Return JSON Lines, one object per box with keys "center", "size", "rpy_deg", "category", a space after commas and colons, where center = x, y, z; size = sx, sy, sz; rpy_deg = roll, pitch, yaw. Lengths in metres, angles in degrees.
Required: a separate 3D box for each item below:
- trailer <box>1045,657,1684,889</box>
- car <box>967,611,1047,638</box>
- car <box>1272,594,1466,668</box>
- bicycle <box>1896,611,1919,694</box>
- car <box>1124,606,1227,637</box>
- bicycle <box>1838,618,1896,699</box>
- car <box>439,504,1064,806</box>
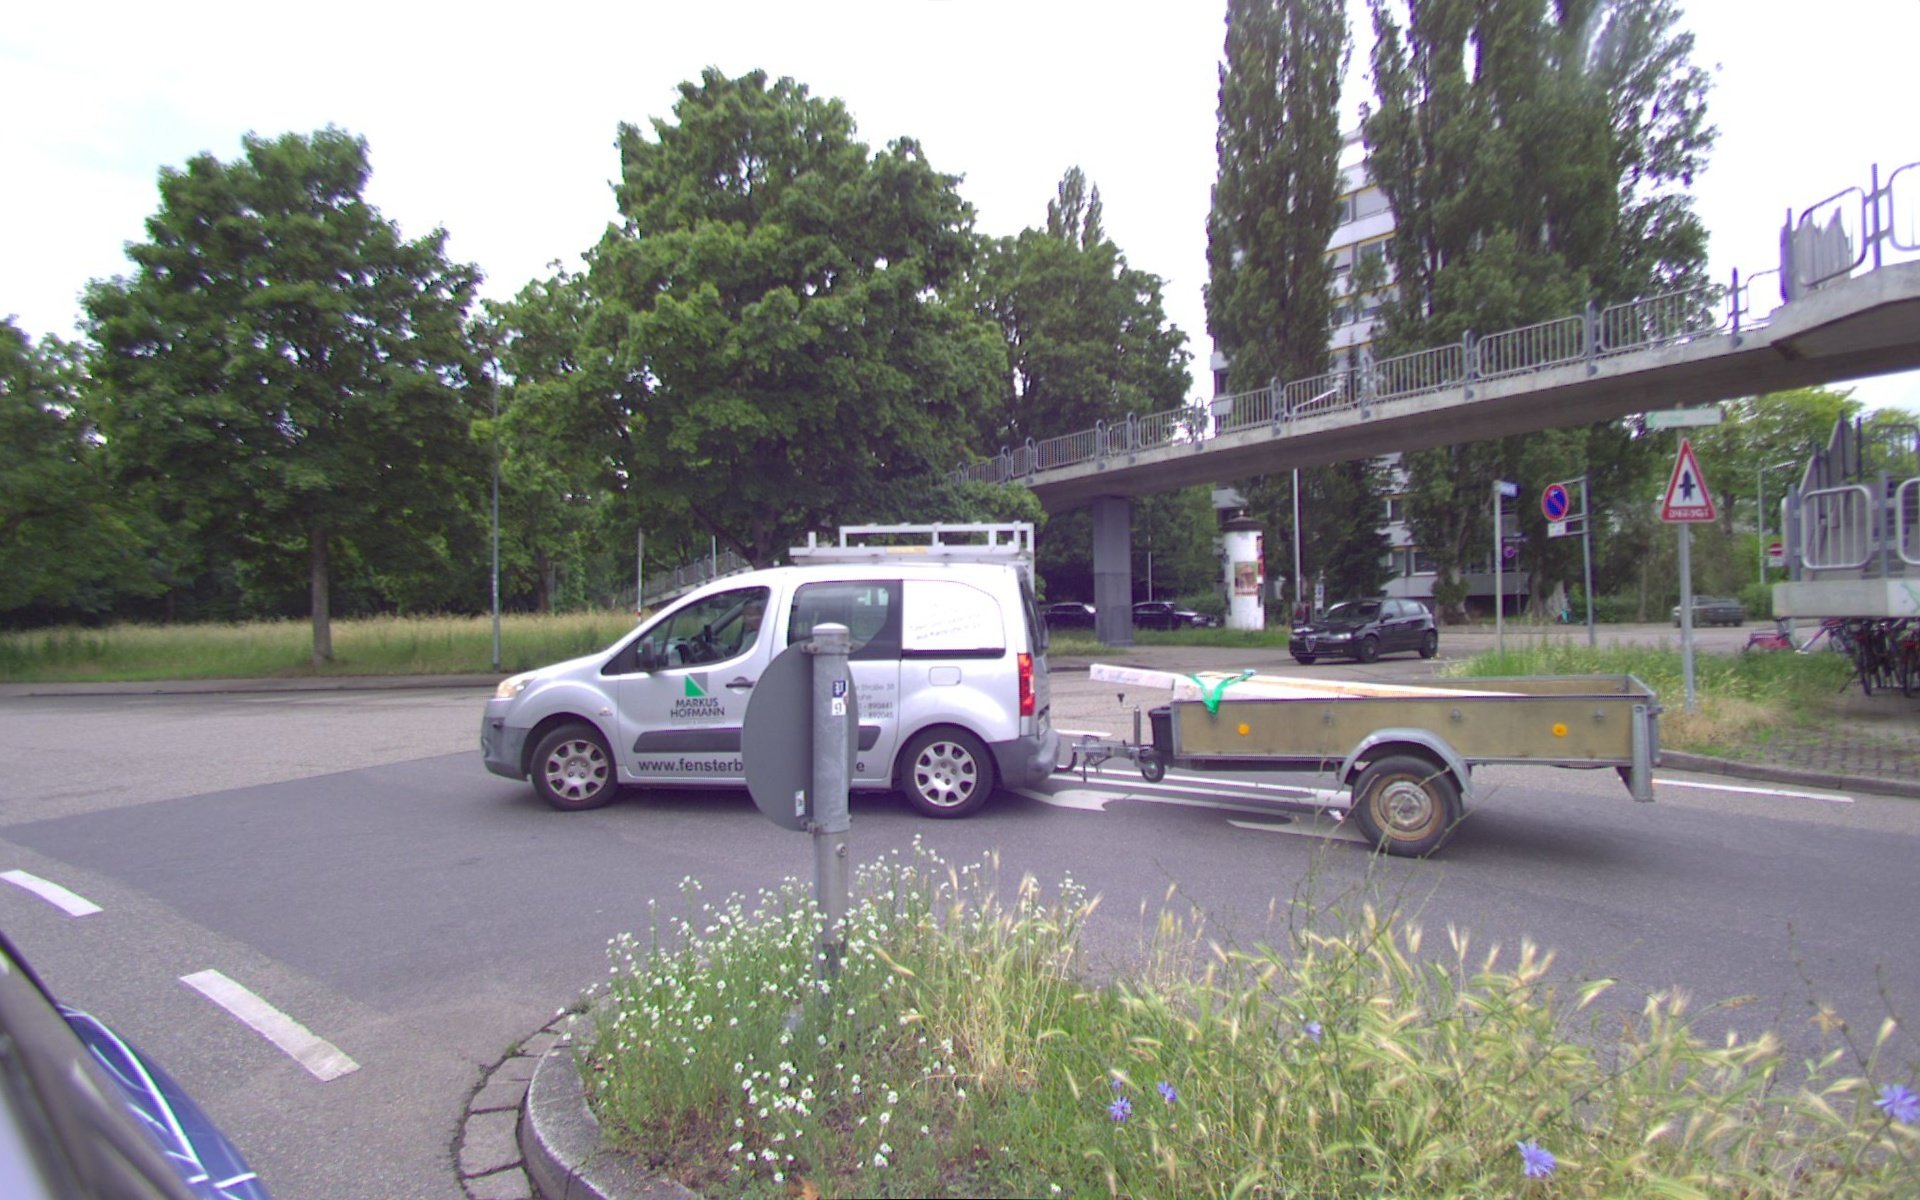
{"center": [2.437, 0.917, 6.459], "size": [3.455, 0.993, 1.554], "rpy_deg": [-2, 0, 34], "category": "trailer"}
{"center": [2.276, 1.184, 49.888], "size": [1.667, 1.247, 4.007], "rpy_deg": [-1, 0, -39], "category": "car"}
{"center": [9.205, 0.644, 22.656], "size": [4.465, 1.468, 1.808], "rpy_deg": [-1, 0, -34], "category": "car"}
{"center": [11.199, 0.584, 11.742], "size": [1.618, 0.892, 0.395], "rpy_deg": [-1, -1, -44], "category": "bicycle"}
{"center": [8.876, 0.891, 41.944], "size": [1.667, 1.214, 4.007], "rpy_deg": [-1, 0, -39], "category": "car"}
{"center": [11.047, 0.683, 12.316], "size": [1.618, 0.892, 0.395], "rpy_deg": [-1, -1, -44], "category": "bicycle"}
{"center": [-1.405, 0.395, 7.712], "size": [4.177, 1.871, 2.088], "rpy_deg": [-2, 0, 11], "category": "car"}
